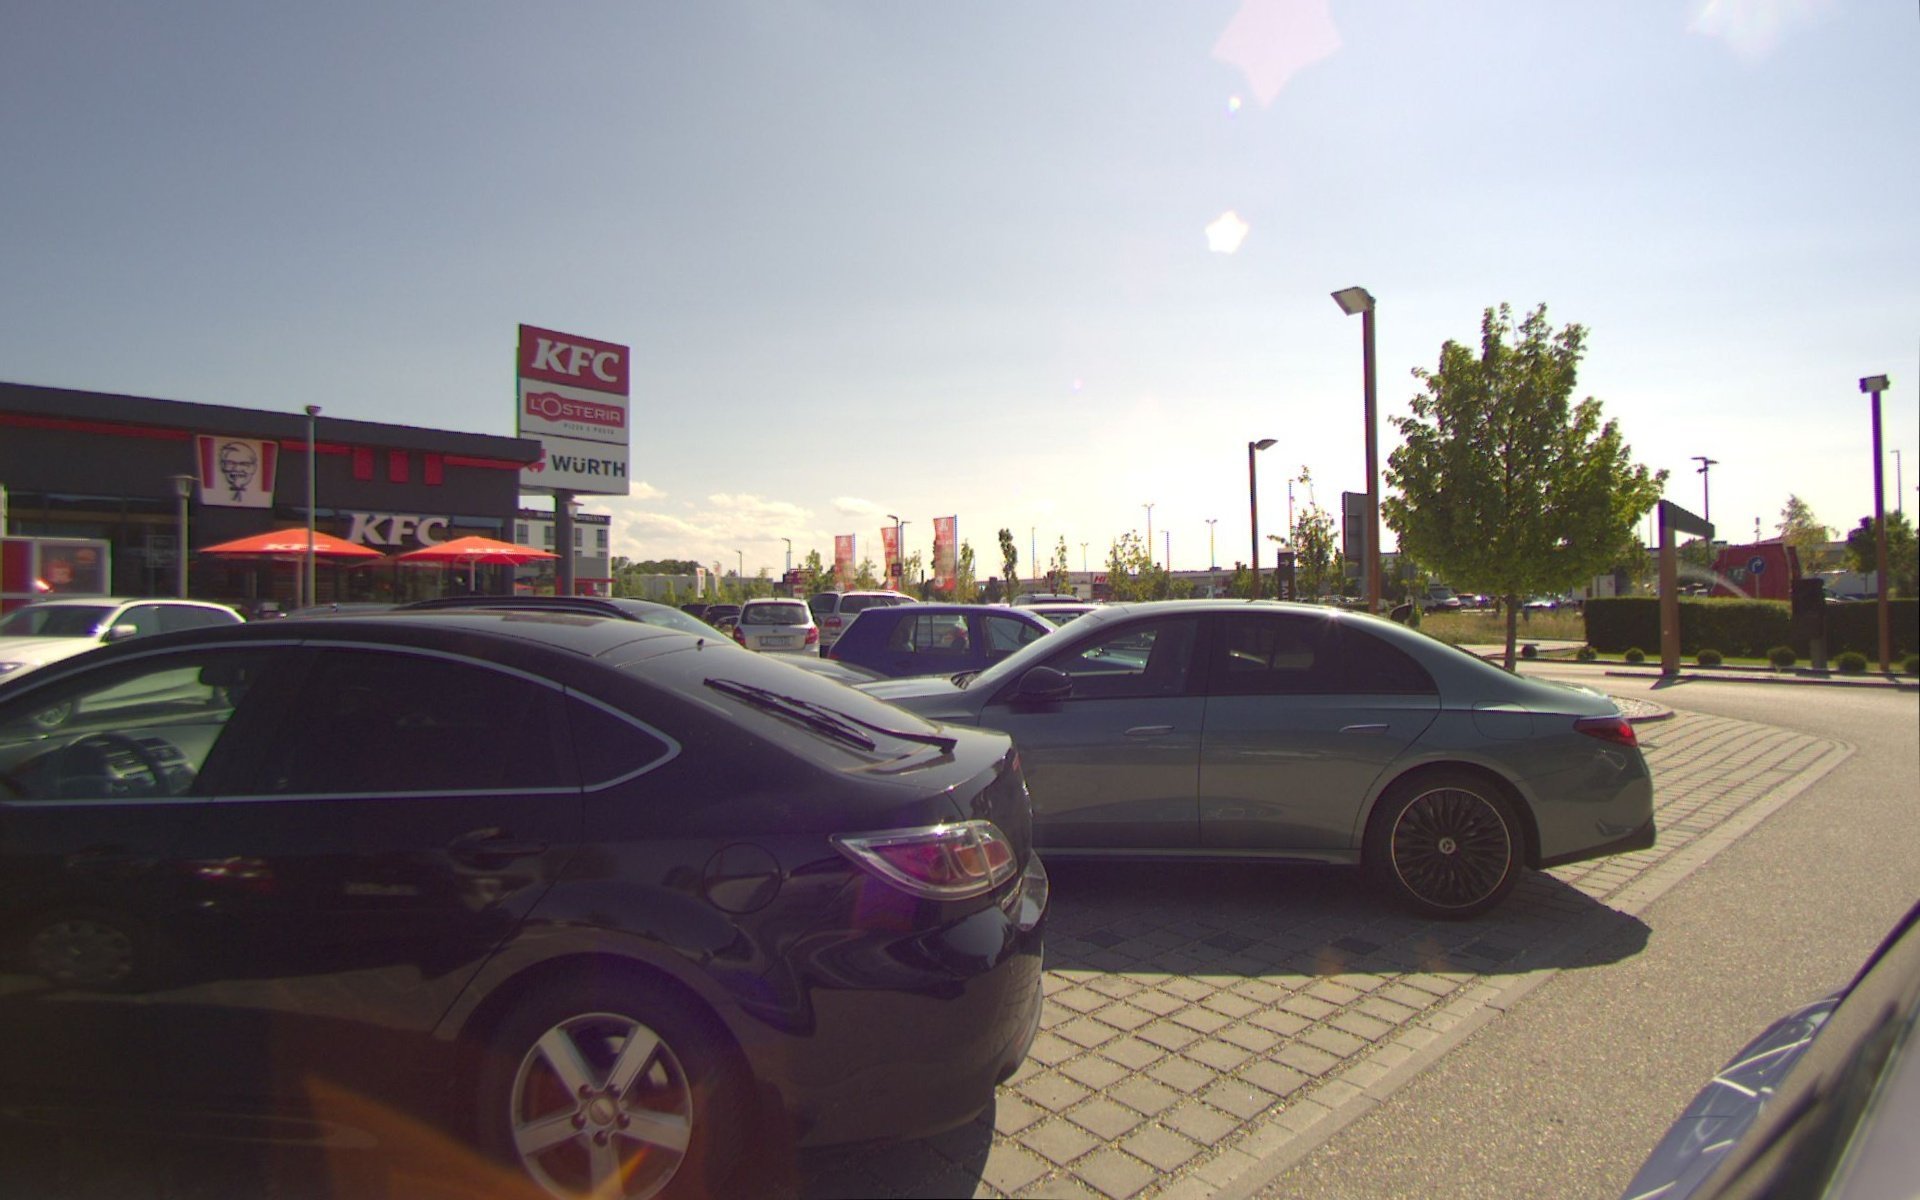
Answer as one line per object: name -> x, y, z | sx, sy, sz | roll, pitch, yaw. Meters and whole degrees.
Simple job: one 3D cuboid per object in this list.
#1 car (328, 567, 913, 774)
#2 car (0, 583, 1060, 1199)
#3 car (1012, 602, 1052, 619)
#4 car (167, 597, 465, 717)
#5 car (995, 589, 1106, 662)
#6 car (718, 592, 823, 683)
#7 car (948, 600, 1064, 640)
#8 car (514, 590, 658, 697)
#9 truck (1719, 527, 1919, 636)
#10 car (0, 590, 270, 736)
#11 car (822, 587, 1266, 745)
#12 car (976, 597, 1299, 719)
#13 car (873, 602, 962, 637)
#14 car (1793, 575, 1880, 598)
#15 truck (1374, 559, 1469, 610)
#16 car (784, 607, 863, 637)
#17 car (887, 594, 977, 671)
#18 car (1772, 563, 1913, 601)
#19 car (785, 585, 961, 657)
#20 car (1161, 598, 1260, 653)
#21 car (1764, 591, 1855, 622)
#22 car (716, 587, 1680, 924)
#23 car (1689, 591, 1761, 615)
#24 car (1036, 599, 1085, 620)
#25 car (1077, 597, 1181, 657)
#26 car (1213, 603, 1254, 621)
car -> -2.671, 0.539, 8.657 | 4.338, 1.530, 1.981 | 0, 0, 4
car -> -1.716, 0.715, 3.246 | 4.003, 1.467, 1.826 | 0, 0, 5
car -> 6.514, 0.952, 91.380 | 1.725, 1.483, 4.005 | 0, 0, -28
car -> -8.712, 0.688, 14.154 | 1.785, 1.421, 4.002 | 0, 0, -3
car -> 2.037, 0.553, 23.963 | 1.770, 1.576, 4.060 | 0, 0, -7
car -> -3.620, 0.642, 19.447 | 1.742, 1.530, 4.359 | 0, 0, -10
car -> 1.761, 0.736, 38.404 | 4.075, 1.416, 1.888 | 0, 0, -35
car -> -5.935, 0.622, 16.482 | 1.782, 1.508, 4.007 | 0, 0, -14
truck -> 34.953, -0.664, 38.638 | 3.155, 3.916, 9.113 | 0, 0, -41
car -> -10.800, 0.659, 12.318 | 1.877, 1.490, 4.473 | 0, 0, -2
car -> 0.845, 0.657, 10.942 | 4.338, 1.530, 1.981 | 0, 0, 4
car -> 2.184, 0.688, 13.039 | 3.835, 1.444, 1.704 | 0, 0, 6
car -> -1.882, 0.839, 45.140 | 3.683, 1.472, 1.687 | 0, 0, -35
car -> 54.168, -0.818, 62.577 | 1.637, 1.359, 3.900 | 0, 0, -42
truck -> 32.746, -1.065, 72.168 | 2.373, 3.394, 7.577 | -1, 0, -9
car -> -7.081, 1.115, 52.643 | 3.683, 1.472, 1.687 | 0, 0, -35
car -> -0.493, 0.624, 21.336 | 1.680, 1.429, 4.680 | 0, 0, 1
car -> 56.218, -1.090, 64.583 | 2.261, 2.273, 6.558 | 0, -1, -42
car -> -2.270, 0.509, 27.003 | 4.291, 1.772, 2.069 | 0, -1, -41
car -> 6.965, 0.672, 28.513 | 1.878, 1.440, 3.774 | 0, 0, 1
car -> 49.957, 0.362, 59.560 | 3.987, 1.750, 1.864 | -1, -1, 44
car -> 1.092, 0.723, 5.711 | 4.461, 1.530, 1.885 | 0, 0, 4
car -> 55.996, 0.220, 74.114 | 4.169, 1.750, 1.897 | 0, 0, -10
car -> 7.752, 0.745, 78.283 | 1.767, 1.580, 3.775 | 0, 0, -35
car -> 4.311, 0.666, 26.467 | 1.762, 1.440, 4.089 | 0, 0, -4
car -> 24.166, 1.044, 89.351 | 3.153, 1.576, 1.544 | 0, -1, -15
